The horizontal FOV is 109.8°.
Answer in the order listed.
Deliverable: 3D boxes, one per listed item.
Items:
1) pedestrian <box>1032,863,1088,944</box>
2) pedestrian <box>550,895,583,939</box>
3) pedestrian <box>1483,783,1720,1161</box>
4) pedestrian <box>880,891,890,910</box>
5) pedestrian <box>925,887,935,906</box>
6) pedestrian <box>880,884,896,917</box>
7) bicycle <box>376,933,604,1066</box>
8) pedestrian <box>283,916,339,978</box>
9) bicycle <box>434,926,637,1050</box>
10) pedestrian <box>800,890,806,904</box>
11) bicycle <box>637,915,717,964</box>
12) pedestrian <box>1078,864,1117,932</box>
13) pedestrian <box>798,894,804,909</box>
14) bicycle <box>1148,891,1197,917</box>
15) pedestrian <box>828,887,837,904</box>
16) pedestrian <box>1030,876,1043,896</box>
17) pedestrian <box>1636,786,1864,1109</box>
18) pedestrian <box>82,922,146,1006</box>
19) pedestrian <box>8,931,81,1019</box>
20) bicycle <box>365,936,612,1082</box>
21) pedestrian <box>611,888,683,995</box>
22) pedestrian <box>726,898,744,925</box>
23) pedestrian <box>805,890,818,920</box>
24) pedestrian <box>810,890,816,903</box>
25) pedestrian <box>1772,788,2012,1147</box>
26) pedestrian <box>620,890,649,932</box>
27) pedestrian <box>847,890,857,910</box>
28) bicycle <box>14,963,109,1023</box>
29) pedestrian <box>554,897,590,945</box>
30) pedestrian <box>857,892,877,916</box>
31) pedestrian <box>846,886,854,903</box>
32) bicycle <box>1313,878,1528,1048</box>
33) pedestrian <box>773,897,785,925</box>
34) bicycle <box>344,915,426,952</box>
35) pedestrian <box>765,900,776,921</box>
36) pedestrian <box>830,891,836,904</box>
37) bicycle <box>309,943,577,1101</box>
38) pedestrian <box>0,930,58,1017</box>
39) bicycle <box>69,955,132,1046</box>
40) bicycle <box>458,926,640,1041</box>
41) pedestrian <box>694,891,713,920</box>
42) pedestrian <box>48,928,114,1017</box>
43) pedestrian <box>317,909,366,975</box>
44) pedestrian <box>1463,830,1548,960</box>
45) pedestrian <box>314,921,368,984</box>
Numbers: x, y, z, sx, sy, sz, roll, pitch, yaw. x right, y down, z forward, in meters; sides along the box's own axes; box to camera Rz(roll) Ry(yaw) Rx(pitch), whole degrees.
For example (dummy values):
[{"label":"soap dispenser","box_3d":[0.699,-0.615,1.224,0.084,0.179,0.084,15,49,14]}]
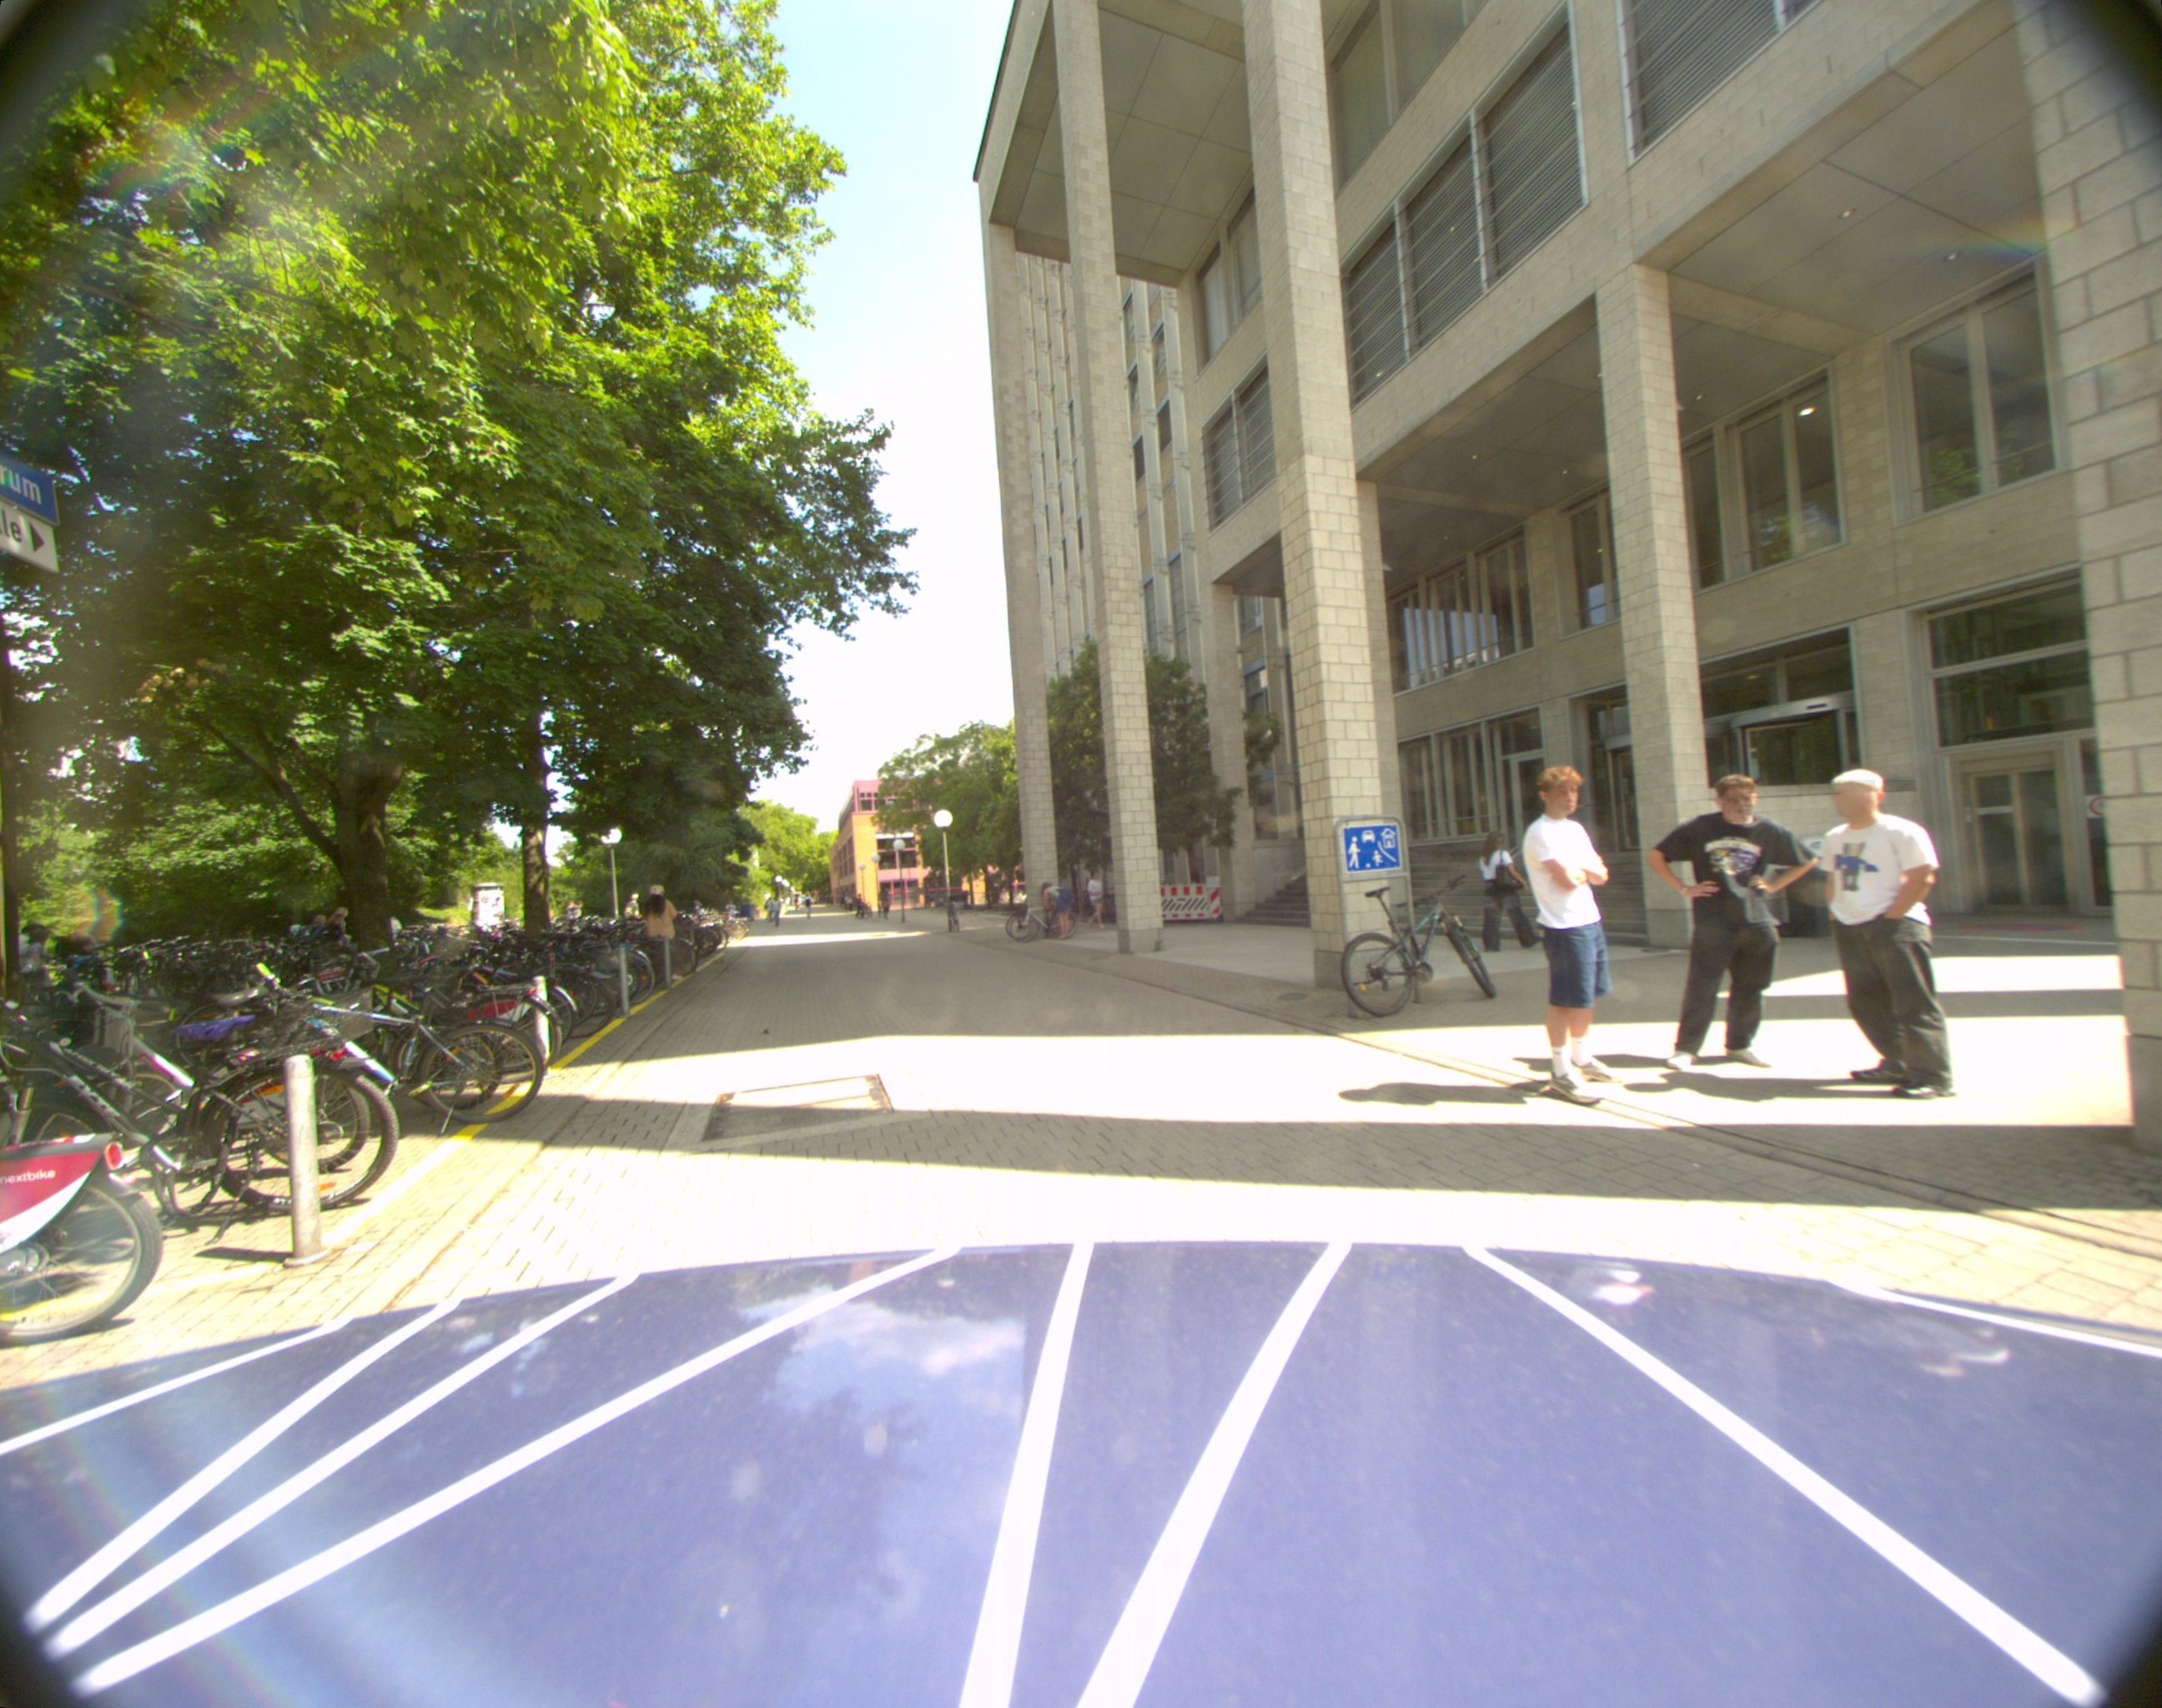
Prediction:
[{"label":"pedestrian","box_3d":[-0.485,1.125,17.314,0.750,1.729,0.935,-4,-1,-39]},{"label":"pedestrian","box_3d":[-19.072,2.330,28.180,0.745,1.560,0.720,-3,-1,-12]},{"label":"pedestrian","box_3d":[2.899,0.600,4.275,0.687,1.879,0.686,-5,-1,-23]},{"label":"pedestrian","box_3d":[-16.000,3.779,62.055,0.692,1.503,0.514,-3,2,-22]},{"label":"pedestrian","box_3d":[-12.433,3.478,62.443,0.692,1.503,0.514,-3,2,-22]},{"label":"pedestrian","box_3d":[-10.910,2.627,42.892,0.744,1.753,0.973,-3,2,-16]},{"label":"bicycle","box_3d":[-5.974,1.444,7.784,1.697,1.118,0.627,-2,0,-15]},{"label":"pedestrian","box_3d":[-20.316,2.445,20.059,0.743,1.560,0.722,-3,-1,17]},{"label":"bicycle","box_3d":[-6.040,1.458,8.516,1.697,1.144,0.627,-2,0,-19]},{"label":"pedestrian","box_3d":[-38.251,5.914,104.481,0.565,1.753,0.803,-3,2,-14]},{"label":"bicycle","box_3d":[-10.093,2.117,19.040,1.690,1.076,0.478,-2,-4,-24]},{"label":"pedestrian","box_3d":[0.438,1.189,20.711,0.749,1.729,0.937,-4,-1,-12]},{"label":"pedestrian","box_3d":[-35.263,5.984,95.662,0.669,1.753,0.802,-3,2,-22]},{"label":"bicycle","box_3d":[2.923,1.593,24.495,0.644,0.755,1.986,-2,-1,-23]},{"label":"pedestrian","box_3d":[-26.389,4.400,80.767,0.745,1.753,0.973,-3,2,-21]},{"label":"pedestrian","box_3d":[-3.969,2.855,68.162,0.974,1.753,0.744,-2,2,6]},{"label":"pedestrian","box_3d":[4.031,0.541,4.656,0.808,1.786,0.621,-4,-1,26]},{"label":"pedestrian","box_3d":[-21.473,2.423,16.875,0.743,1.764,0.722,-4,-1,29]},{"label":"pedestrian","box_3d":[-22.170,2.566,16.260,0.743,1.764,0.722,-3,-1,23]},{"label":"bicycle","box_3d":[-5.446,1.400,7.086,1.697,1.118,0.565,-2,0,-15]},{"label":"pedestrian","box_3d":[-7.335,1.460,12.874,0.946,1.692,0.427,-3,-2,-25]},{"label":"pedestrian","box_3d":[-19.534,3.237,42.887,0.689,1.503,0.516,-1,2,26]},{"label":"pedestrian","box_3d":[-16.526,3.140,46.538,0.566,1.753,0.802,-3,2,-28]},{"label":"pedestrian","box_3d":[-37.172,5.852,105.473,0.565,1.753,0.803,-3,2,-14]},{"label":"pedestrian","box_3d":[4.291,0.552,4.050,0.543,1.719,0.613,-4,0,-19]},{"label":"pedestrian","box_3d":[-17.578,2.233,29.932,0.745,1.560,0.720,-3,-1,-12]},{"label":"pedestrian","box_3d":[-21.949,4.393,72.715,0.745,1.753,0.973,-3,2,-21]},{"label":"bicycle","box_3d":[-18.444,2.495,13.742,1.900,0.973,0.479,-4,0,21]},{"label":"pedestrian","box_3d":[-17.497,2.301,26.132,0.745,1.560,0.720,-3,-1,-12]},{"label":"pedestrian","box_3d":[-14.313,3.342,50.824,0.728,1.503,1.207,-2,2,15]},{"label":"pedestrian","box_3d":[-24.698,4.325,81.197,0.745,1.753,0.973,-3,2,-21]},{"label":"bicycle","box_3d":[3.037,0.907,6.768,1.831,1.234,0.531,-5,0,-21]},{"label":"pedestrian","box_3d":[-16.745,3.145,42.095,0.515,1.503,0.690,-3,2,-18]},{"label":"bicycle","box_3d":[-21.734,2.452,23.776,0.585,0.926,1.755,-1,2,27]},{"label":"pedestrian","box_3d":[-23.071,4.175,56.507,0.692,1.503,0.514,-3,2,-22]},{"label":"pedestrian","box_3d":[-34.819,6.054,106.716,0.565,1.753,0.803,-3,2,-14]},{"label":"bicycle","box_3d":[-5.424,1.399,6.556,1.697,1.118,0.481,-2,0,-15]},{"label":"pedestrian","box_3d":[-23.052,2.588,16.560,0.743,1.764,0.722,-3,-1,24]},{"label":"bicycle","box_3d":[-14.489,2.120,11.215,1.840,1.163,0.437,-4,-1,35]},{"label":"bicycle","box_3d":[-6.320,1.506,9.137,1.699,1.143,0.627,-2,-4,-29]},{"label":"pedestrian","box_3d":[-19.972,2.703,40.159,0.689,1.503,0.516,-1,2,26]},{"label":"pedestrian","box_3d":[-21.186,2.487,16.097,0.655,1.764,0.722,-4,-1,30]},{"label":"pedestrian","box_3d":[-21.065,2.501,21.650,0.743,1.779,0.722,-4,-1,26]},{"label":"pedestrian","box_3d":[5.914,0.560,10.600,0.686,1.723,0.688,-3,-1,-33]},{"label":"pedestrian","box_3d":[-19.468,2.587,19.989,0.743,1.560,0.722,-3,-1,22]}]
